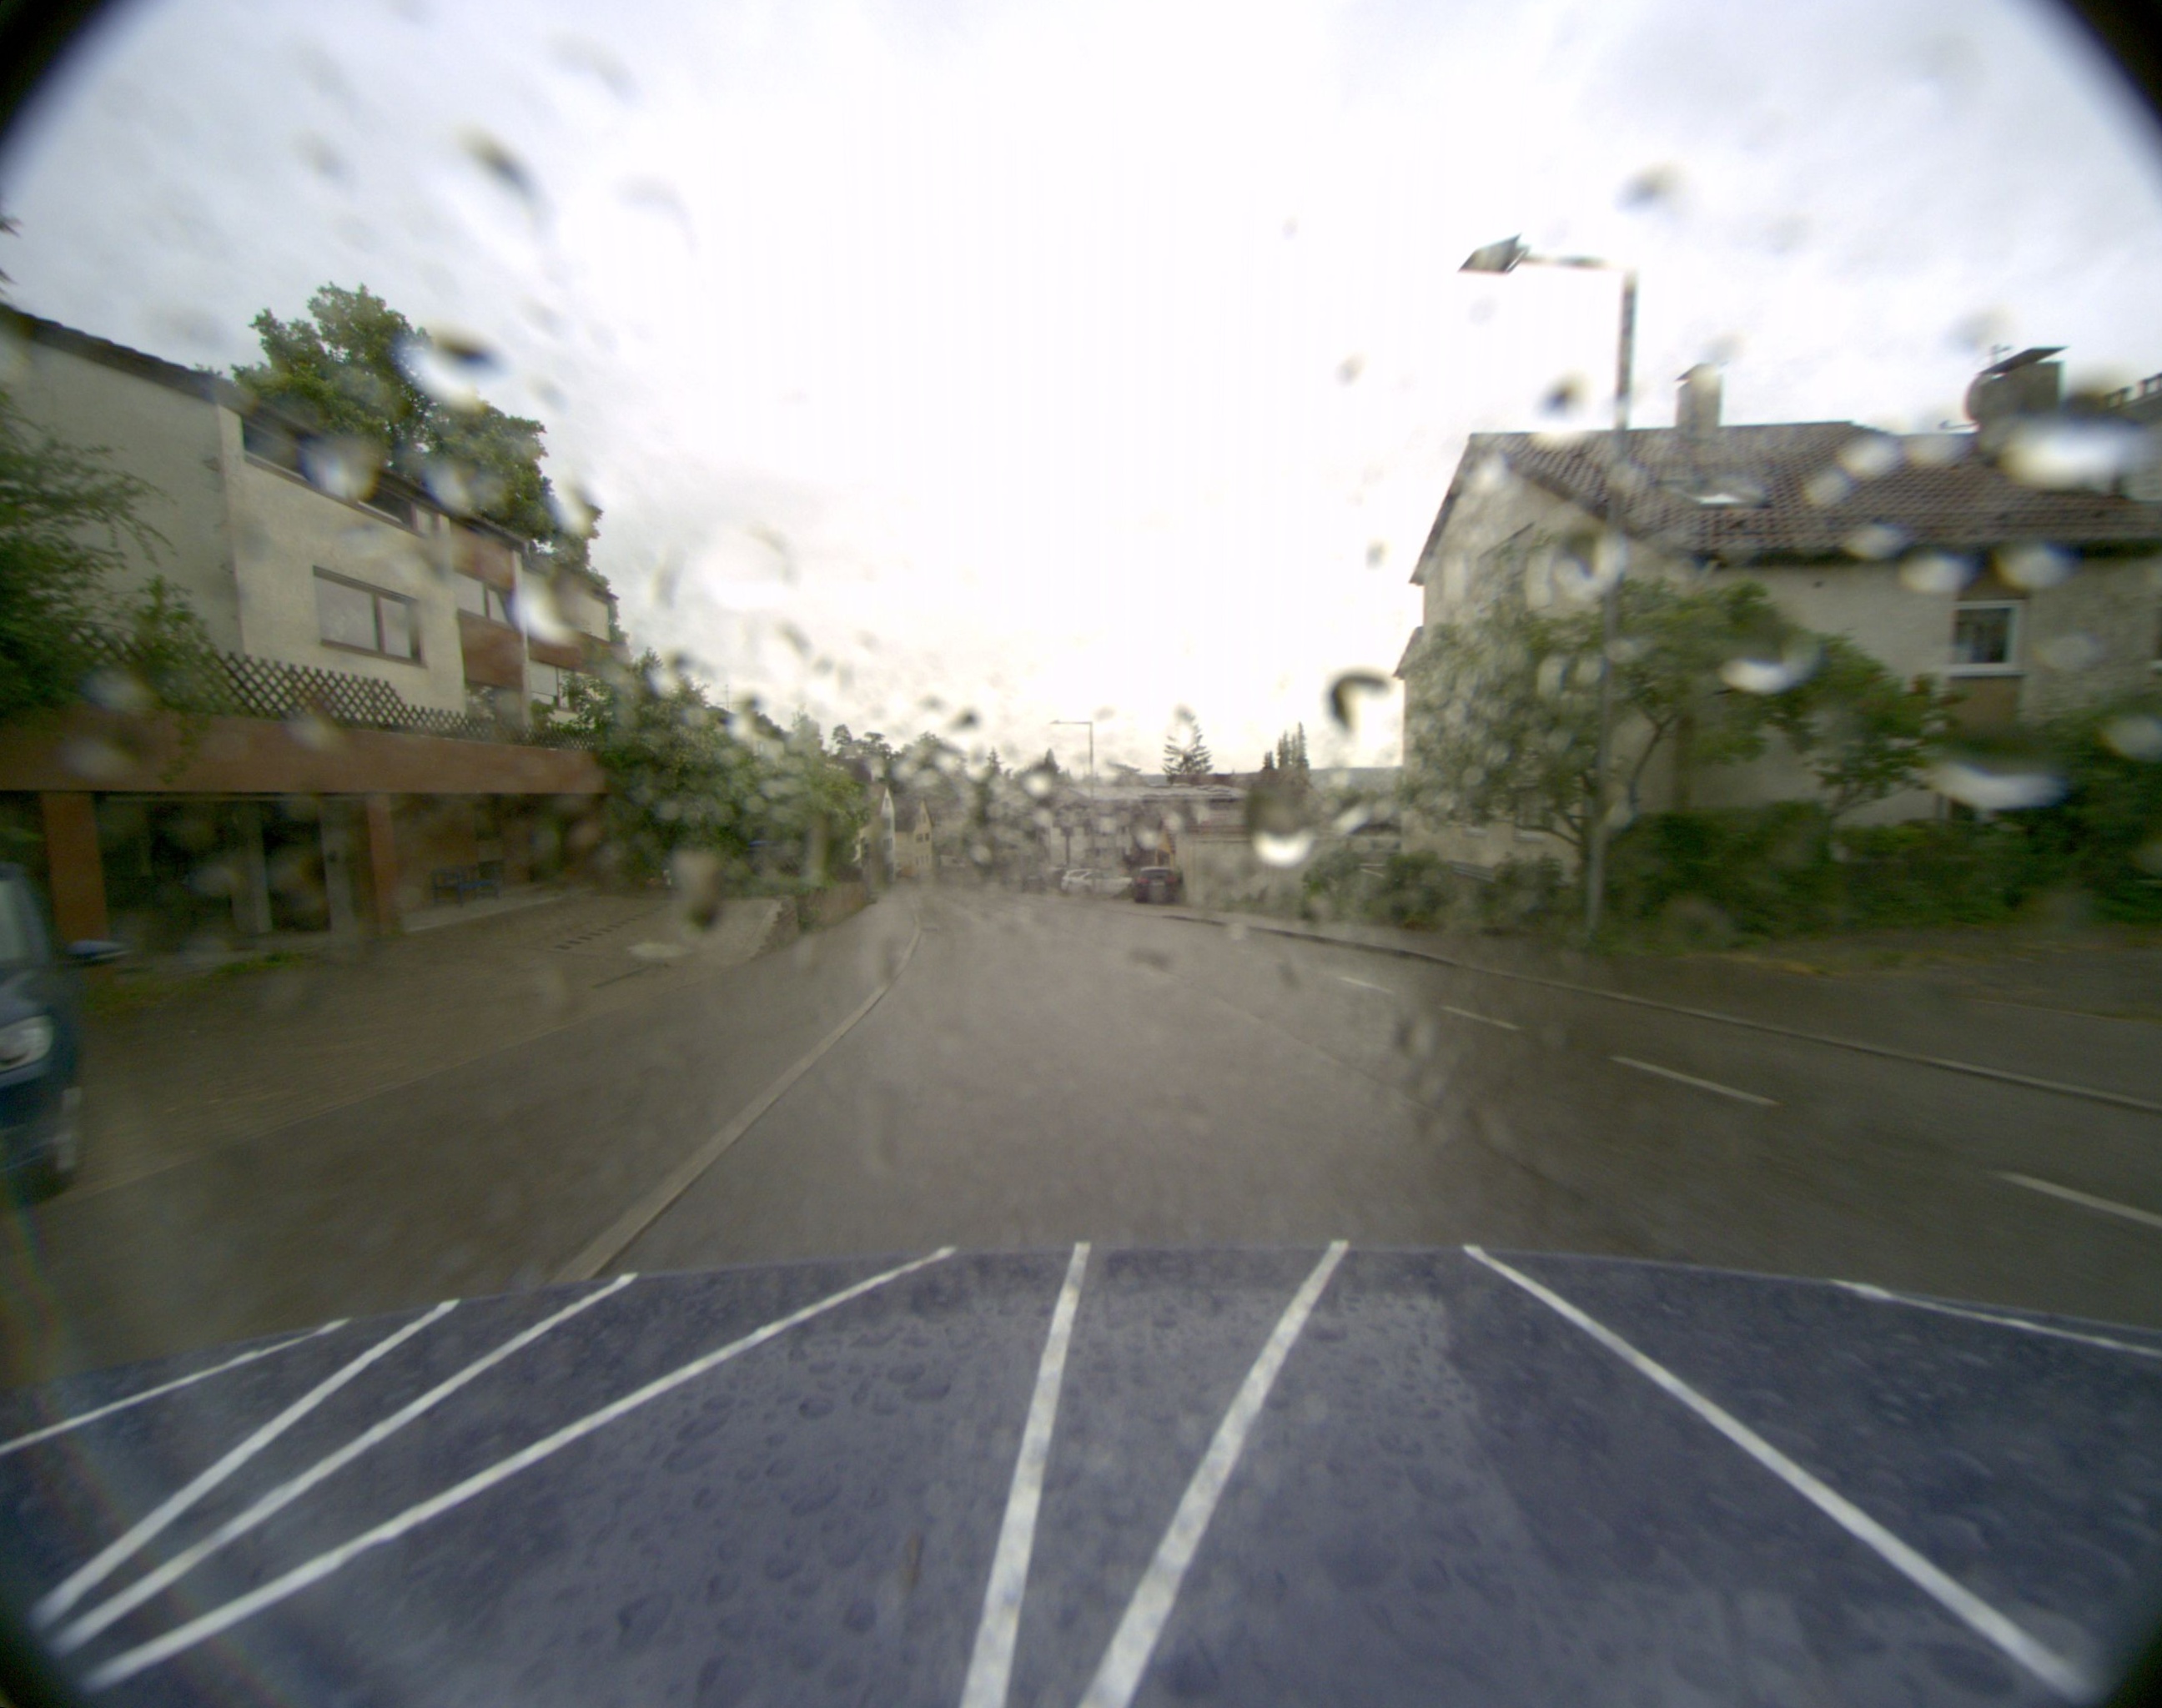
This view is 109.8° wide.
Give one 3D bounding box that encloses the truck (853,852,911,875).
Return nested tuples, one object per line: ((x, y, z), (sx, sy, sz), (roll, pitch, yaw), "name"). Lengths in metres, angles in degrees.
((-26.695, 1.250, 102.114), (6.972, 2.687, 2.141), (4, 0, 2), "truck")

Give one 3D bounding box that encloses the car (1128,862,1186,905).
((3.163, 1.195, 32.468), (1.979, 1.649, 4.963), (-1, -1, 0), "car")

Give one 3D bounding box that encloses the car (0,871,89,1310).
((-6.393, 0.897, 3.615), (4.327, 1.596, 1.861), (1, -3, 39), "car")

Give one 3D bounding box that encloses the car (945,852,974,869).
((-19.703, 1.060, 122.833), (4.305, 2.737, 1.995), (0, 4, -20), "car")

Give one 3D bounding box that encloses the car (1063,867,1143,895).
((1.251, 1.585, 44.517), (4.508, 1.496, 1.901), (-1, -1, -1), "car")

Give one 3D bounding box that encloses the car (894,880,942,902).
((-13.997, 3.141, 65.400), (1.783, 1.569, 4.073), (-3, 0, 26), "car")

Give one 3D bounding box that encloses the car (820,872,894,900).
((-15.451, 2.203, 52.683), (4.724, 1.809, 1.998), (-1, -1, -13), "car")

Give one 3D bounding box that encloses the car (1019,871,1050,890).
((-3.712, 2.108, 60.276), (1.901, 1.432, 4.442), (0, -1, -11), "car")

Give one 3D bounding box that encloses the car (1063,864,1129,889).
((0.972, 1.397, 47.811), (3.995, 1.496, 1.902), (-1, -1, 6), "car")

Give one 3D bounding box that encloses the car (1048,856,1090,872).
((-1.267, 1.051, 78.085), (4.001, 1.500, 1.801), (-1, 2, -12), "car")

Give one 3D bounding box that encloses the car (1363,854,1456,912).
((13.453, 1.123, 31.407), (1.972, 1.991, 4.107), (1, 3, 0), "car")
